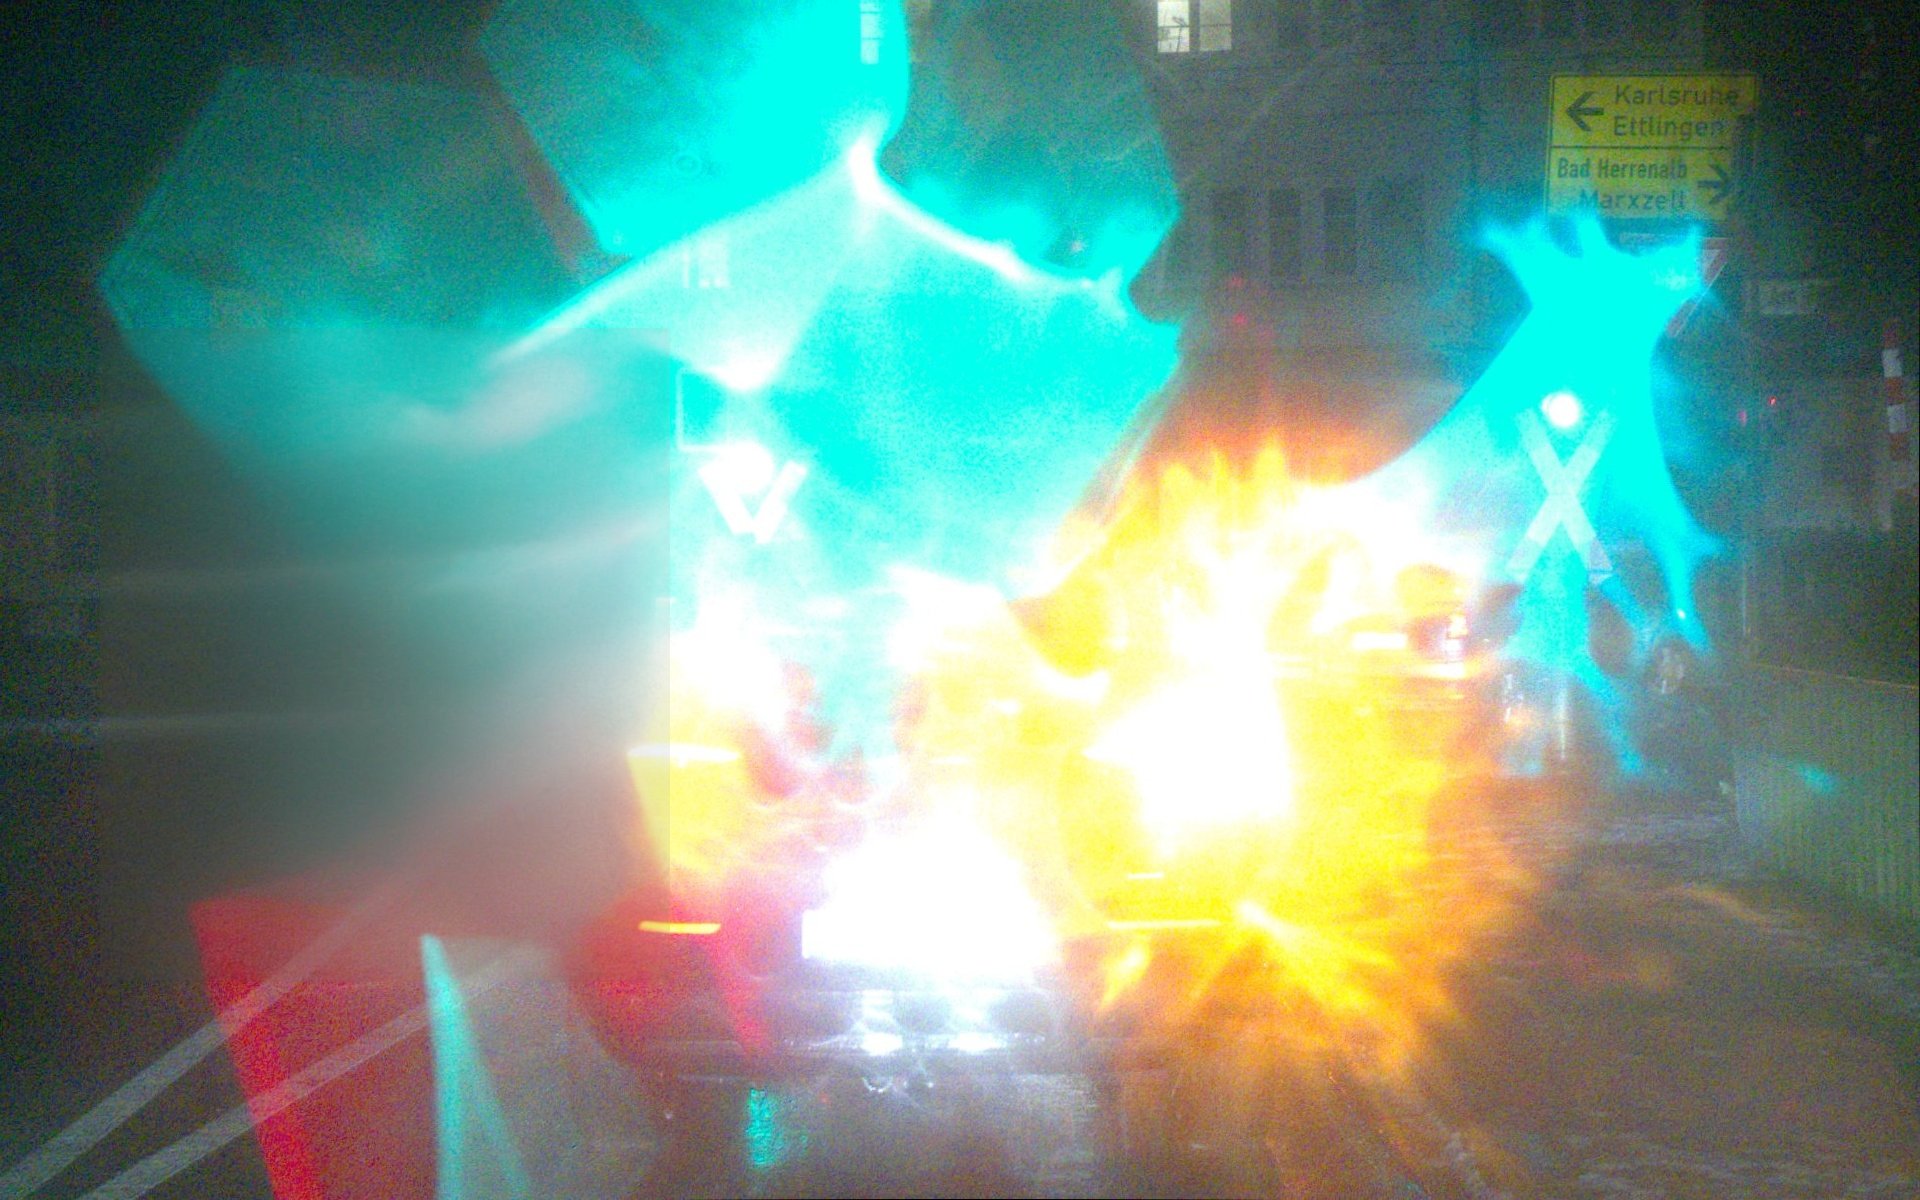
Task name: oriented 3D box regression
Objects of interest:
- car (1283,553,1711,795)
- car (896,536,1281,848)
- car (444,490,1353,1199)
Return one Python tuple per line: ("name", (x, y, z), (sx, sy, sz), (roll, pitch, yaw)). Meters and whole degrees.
("car", (4.933, 0.632, 31.156), (1.775, 1.940, 4.244), (5, 3, 40))
("car", (0.716, 0.437, 19.795), (1.909, 1.505, 4.241), (-3, 1, 2))
("car", (-0.177, 0.588, 9.986), (2.057, 1.672, 4.139), (1, 0, -1))
